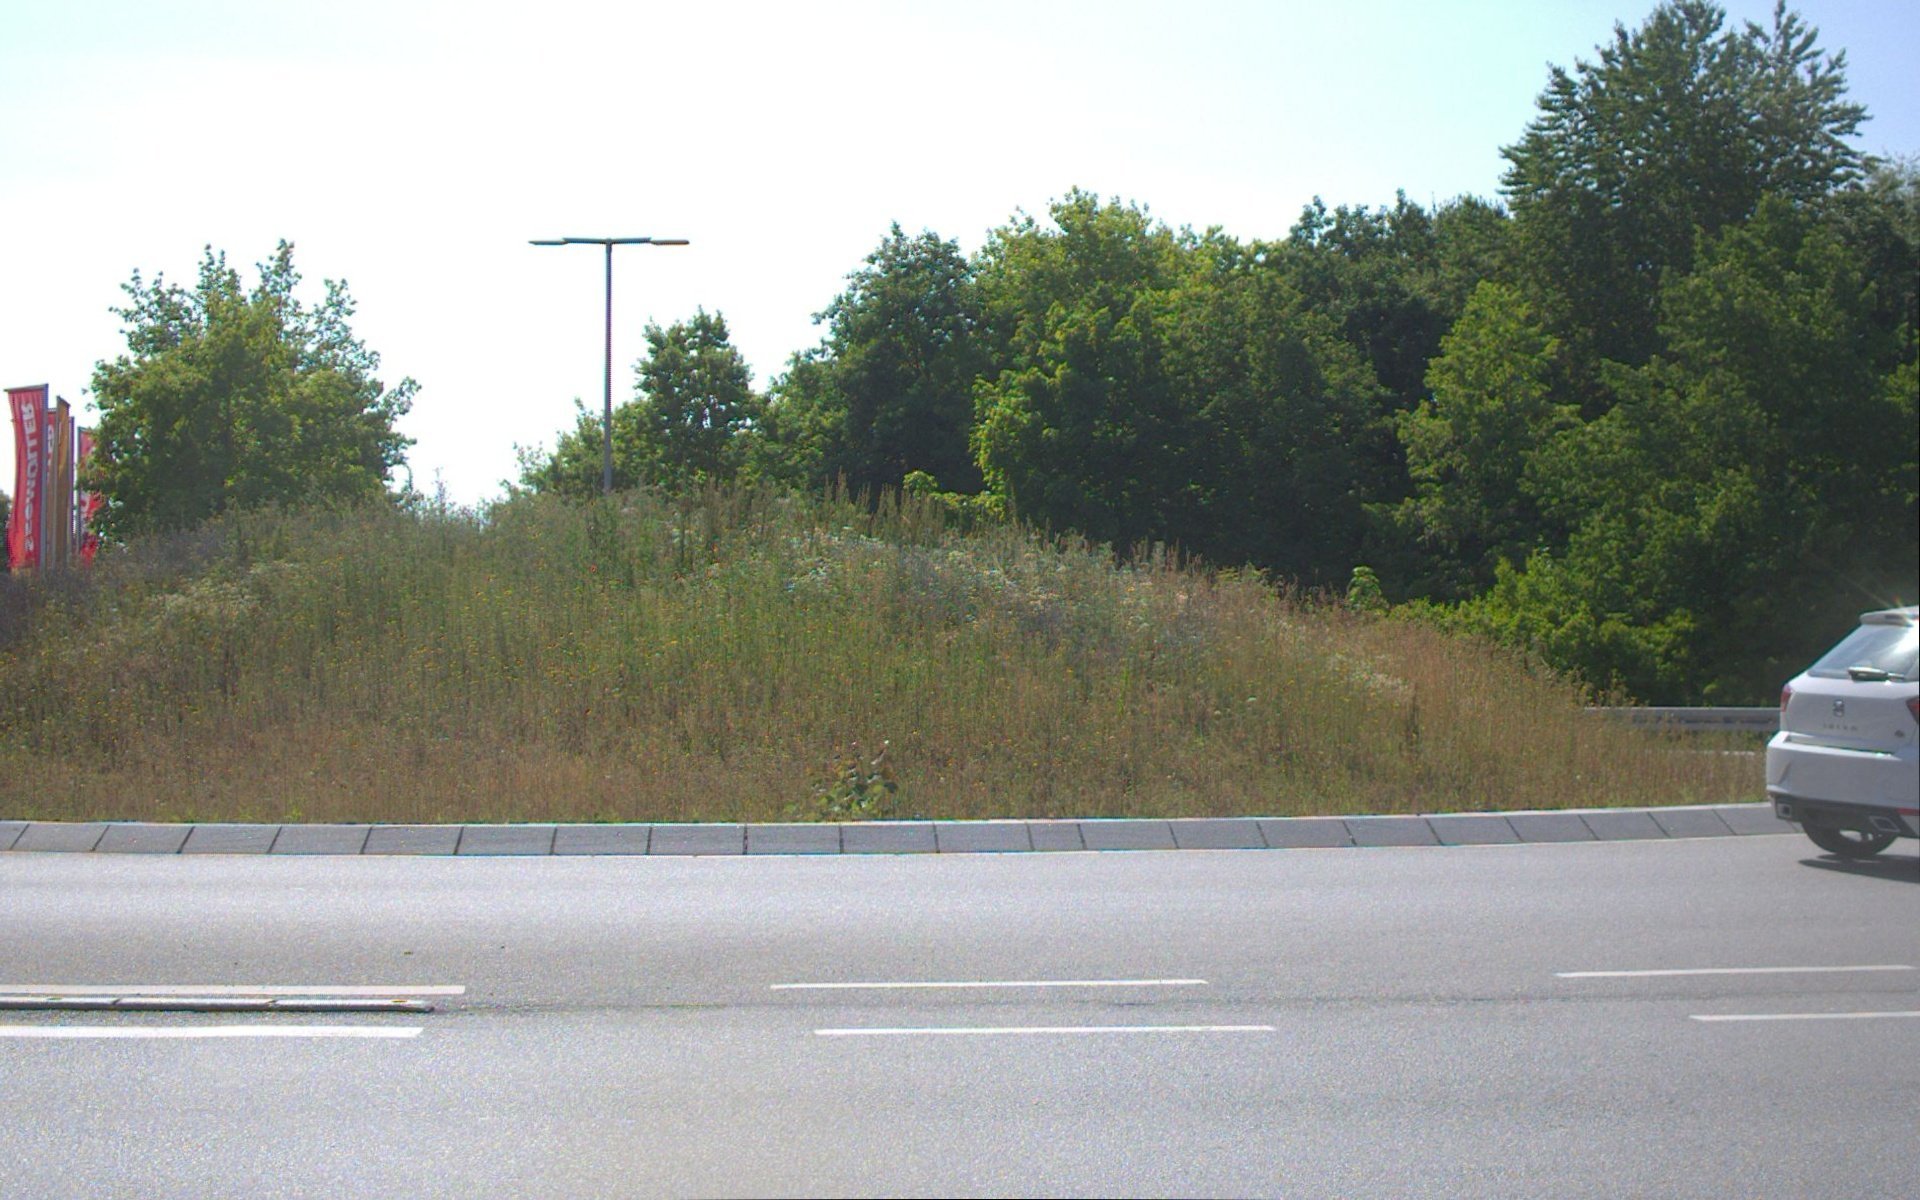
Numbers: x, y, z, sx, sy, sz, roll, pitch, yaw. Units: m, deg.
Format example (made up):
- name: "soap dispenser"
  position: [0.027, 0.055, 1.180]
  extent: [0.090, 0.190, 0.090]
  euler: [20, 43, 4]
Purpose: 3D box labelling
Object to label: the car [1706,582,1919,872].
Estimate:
- name: "car"
  position: [6.386, 0.657, 18.381]
  extent: [4.401, 1.400, 1.792]
  euler: [1, 0, -21]
